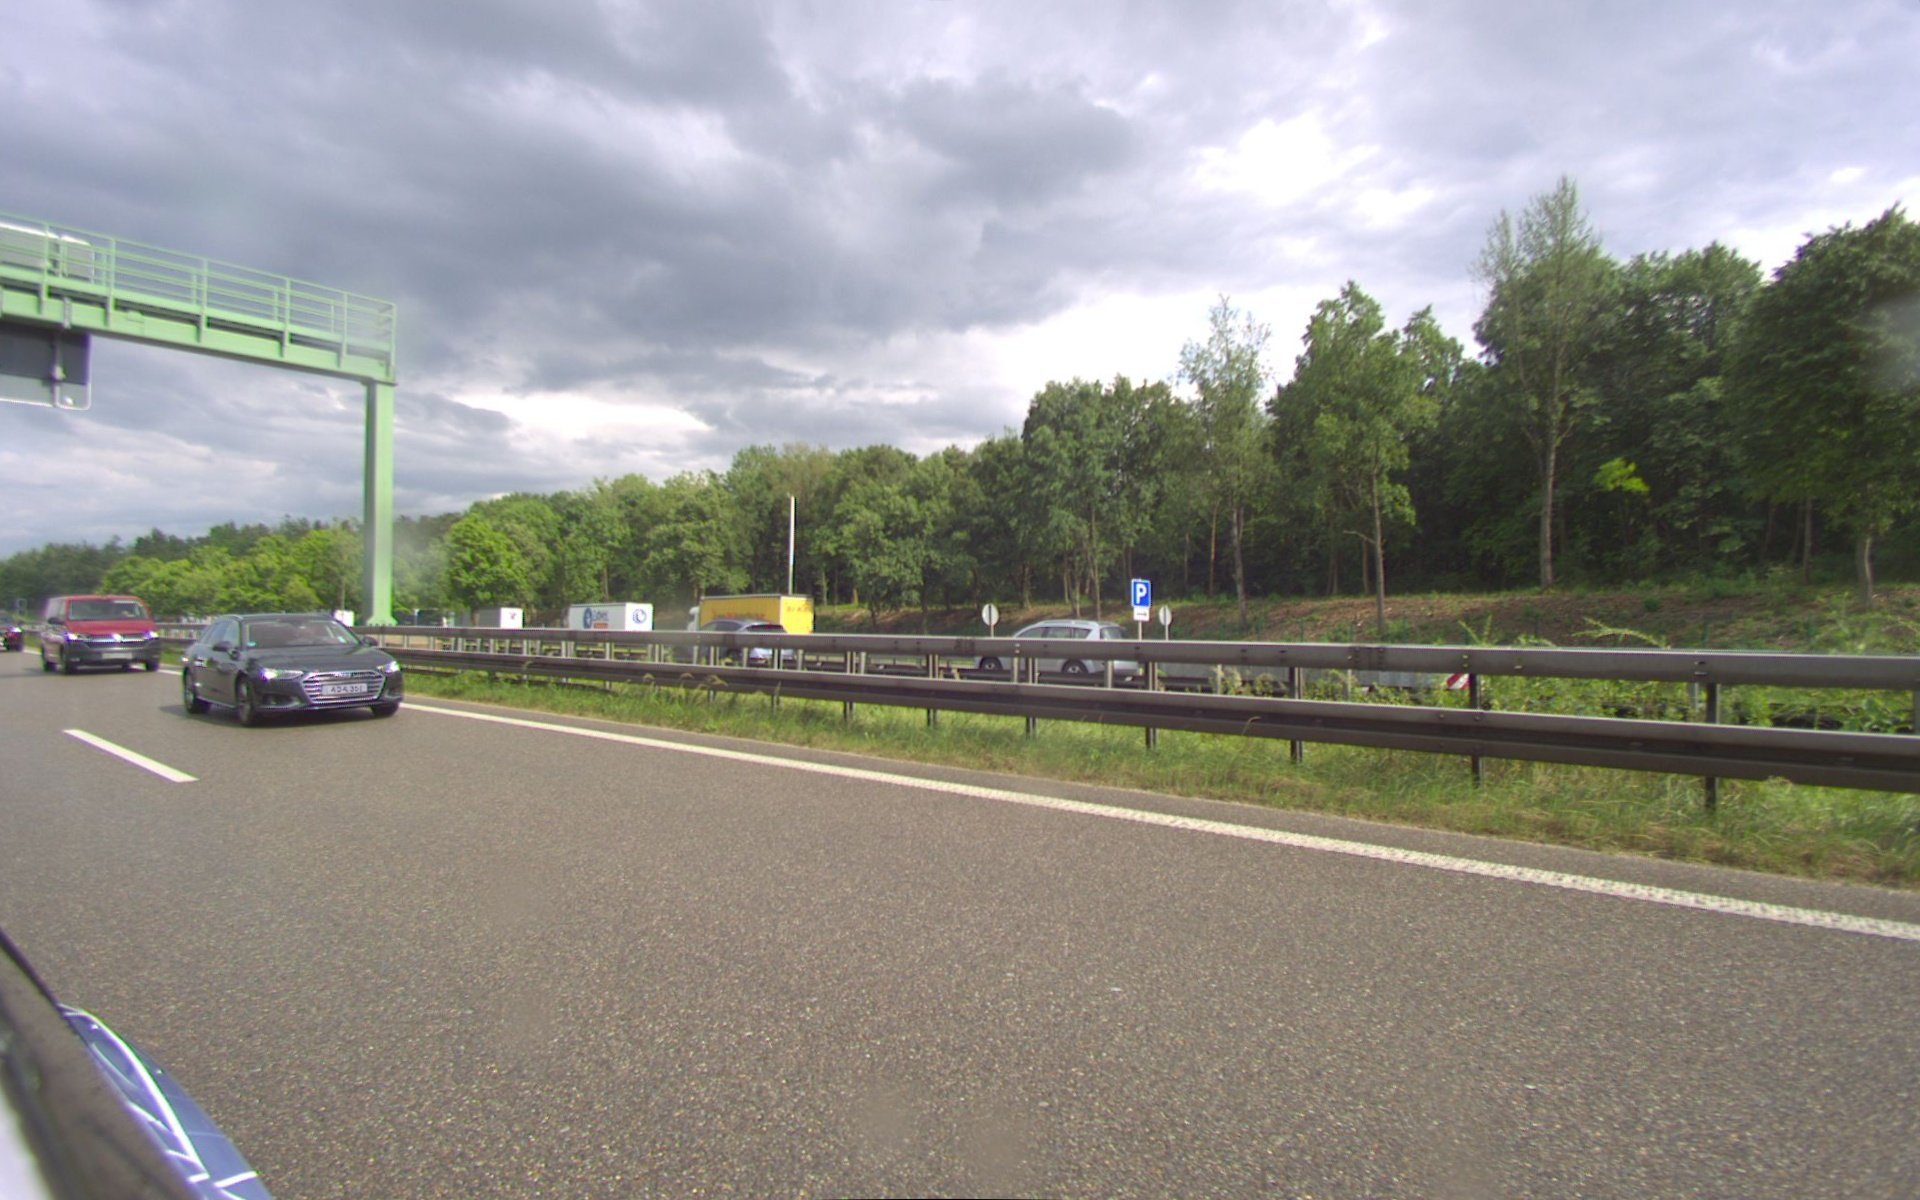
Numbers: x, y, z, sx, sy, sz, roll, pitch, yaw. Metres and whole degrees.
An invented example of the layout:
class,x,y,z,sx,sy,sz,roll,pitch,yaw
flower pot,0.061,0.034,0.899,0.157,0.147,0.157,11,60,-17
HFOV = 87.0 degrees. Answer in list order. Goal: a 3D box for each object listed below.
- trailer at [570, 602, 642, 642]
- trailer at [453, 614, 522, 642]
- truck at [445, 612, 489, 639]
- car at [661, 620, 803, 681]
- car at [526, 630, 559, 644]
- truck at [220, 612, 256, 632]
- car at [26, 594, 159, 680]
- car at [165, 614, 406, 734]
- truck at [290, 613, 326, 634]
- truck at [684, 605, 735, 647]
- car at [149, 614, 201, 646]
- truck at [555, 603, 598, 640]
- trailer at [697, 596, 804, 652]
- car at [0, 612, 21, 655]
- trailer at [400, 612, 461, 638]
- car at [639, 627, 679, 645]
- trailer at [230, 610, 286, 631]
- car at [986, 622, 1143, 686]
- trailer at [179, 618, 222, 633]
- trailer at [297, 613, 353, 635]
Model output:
class,x,y,z,sx,sy,sz,roll,pitch,yaw
trailer,-33.903,2.083,96.652,2.156,3.627,11.734,2,-2,-41
trailer,-56.636,3.348,121.097,12.173,3.217,2.987,-1,-2,43
truck,-60.962,3.157,125.094,5.596,3.208,3.009,-1,-2,43
car,-6.463,1.382,28.538,3.997,1.592,1.902,-1,-2,40
car,-45.492,3.989,110.216,4.002,1.514,1.873,-1,-2,45
truck,-123.936,3.798,173.763,6.081,3.280,3.047,0,-3,34
car,-22.112,0.886,25.732,4.747,2.000,1.871,-1,-1,41
car,-9.595,0.920,14.245,4.465,1.422,1.701,-1,-1,41
truck,-102.798,3.701,159.540,5.385,3.280,3.142,-1,-3,39
truck,-19.576,2.001,79.021,1.950,3.121,5.087,-1,0,-37
car,-53.265,2.044,68.672,3.994,2.029,1.814,-3,-1,38
truck,-38.746,2.222,102.104,2.136,3.648,5.585,2,-2,-42
trailer,-15.506,1.662,73.614,1.967,3.722,13.688,0,0,-37
car,-39.112,1.335,40.425,4.292,1.682,1.871,-1,-1,40
trailer,-70.096,3.277,133.716,12.640,3.296,2.577,-1,-2,41
car,-26.188,3.150,87.998,1.871,1.514,4.005,2,-2,-41
trailer,-117.774,3.454,169.599,13.375,3.296,3.050,-1,-2,34
car,2.623,1.330,25.870,3.784,1.493,1.614,-1,-1,41
trailer,-135.415,4.457,180.395,9.839,2.594,2.512,0,-1,30
trailer,-97.473,3.633,155.319,12.631,3.296,3.153,-1,-2,38
